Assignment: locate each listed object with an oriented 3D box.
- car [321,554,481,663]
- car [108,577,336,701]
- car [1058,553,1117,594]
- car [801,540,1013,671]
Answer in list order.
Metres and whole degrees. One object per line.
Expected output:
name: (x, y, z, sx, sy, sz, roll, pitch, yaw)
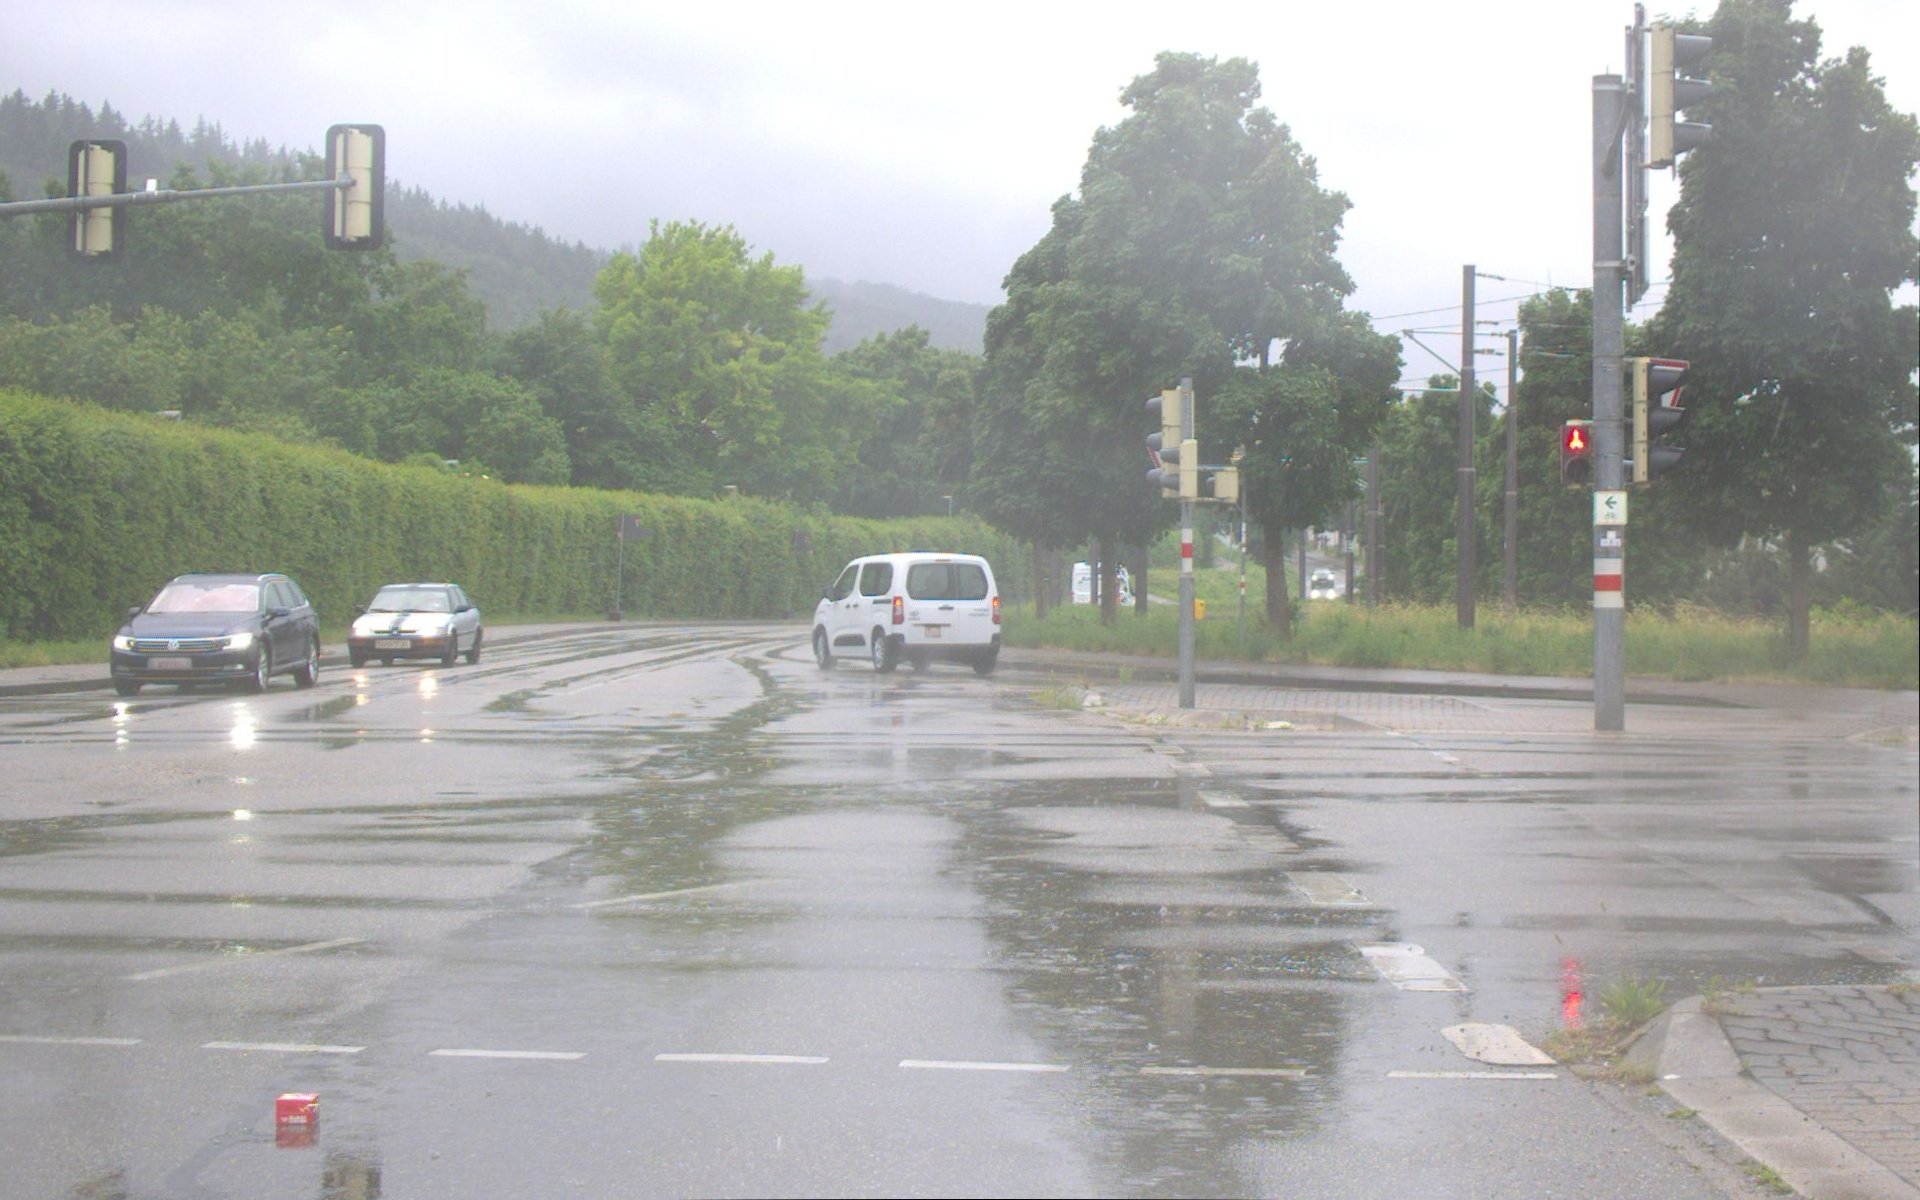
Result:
car: (-9.265, 0.108, 57.267, 2.036, 1.702, 4.066, 1, 1, -1)
car: (-9.278, 0.454, 43.573, 1.709, 1.461, 4.452, 0, 1, 3)
car: (5.865, -1.233, 158.239, 1.933, 1.883, 4.059, 0, 1, 14)
car: (-0.852, 0.048, 52.229, 1.953, 1.897, 4.121, 0, 1, -20)
